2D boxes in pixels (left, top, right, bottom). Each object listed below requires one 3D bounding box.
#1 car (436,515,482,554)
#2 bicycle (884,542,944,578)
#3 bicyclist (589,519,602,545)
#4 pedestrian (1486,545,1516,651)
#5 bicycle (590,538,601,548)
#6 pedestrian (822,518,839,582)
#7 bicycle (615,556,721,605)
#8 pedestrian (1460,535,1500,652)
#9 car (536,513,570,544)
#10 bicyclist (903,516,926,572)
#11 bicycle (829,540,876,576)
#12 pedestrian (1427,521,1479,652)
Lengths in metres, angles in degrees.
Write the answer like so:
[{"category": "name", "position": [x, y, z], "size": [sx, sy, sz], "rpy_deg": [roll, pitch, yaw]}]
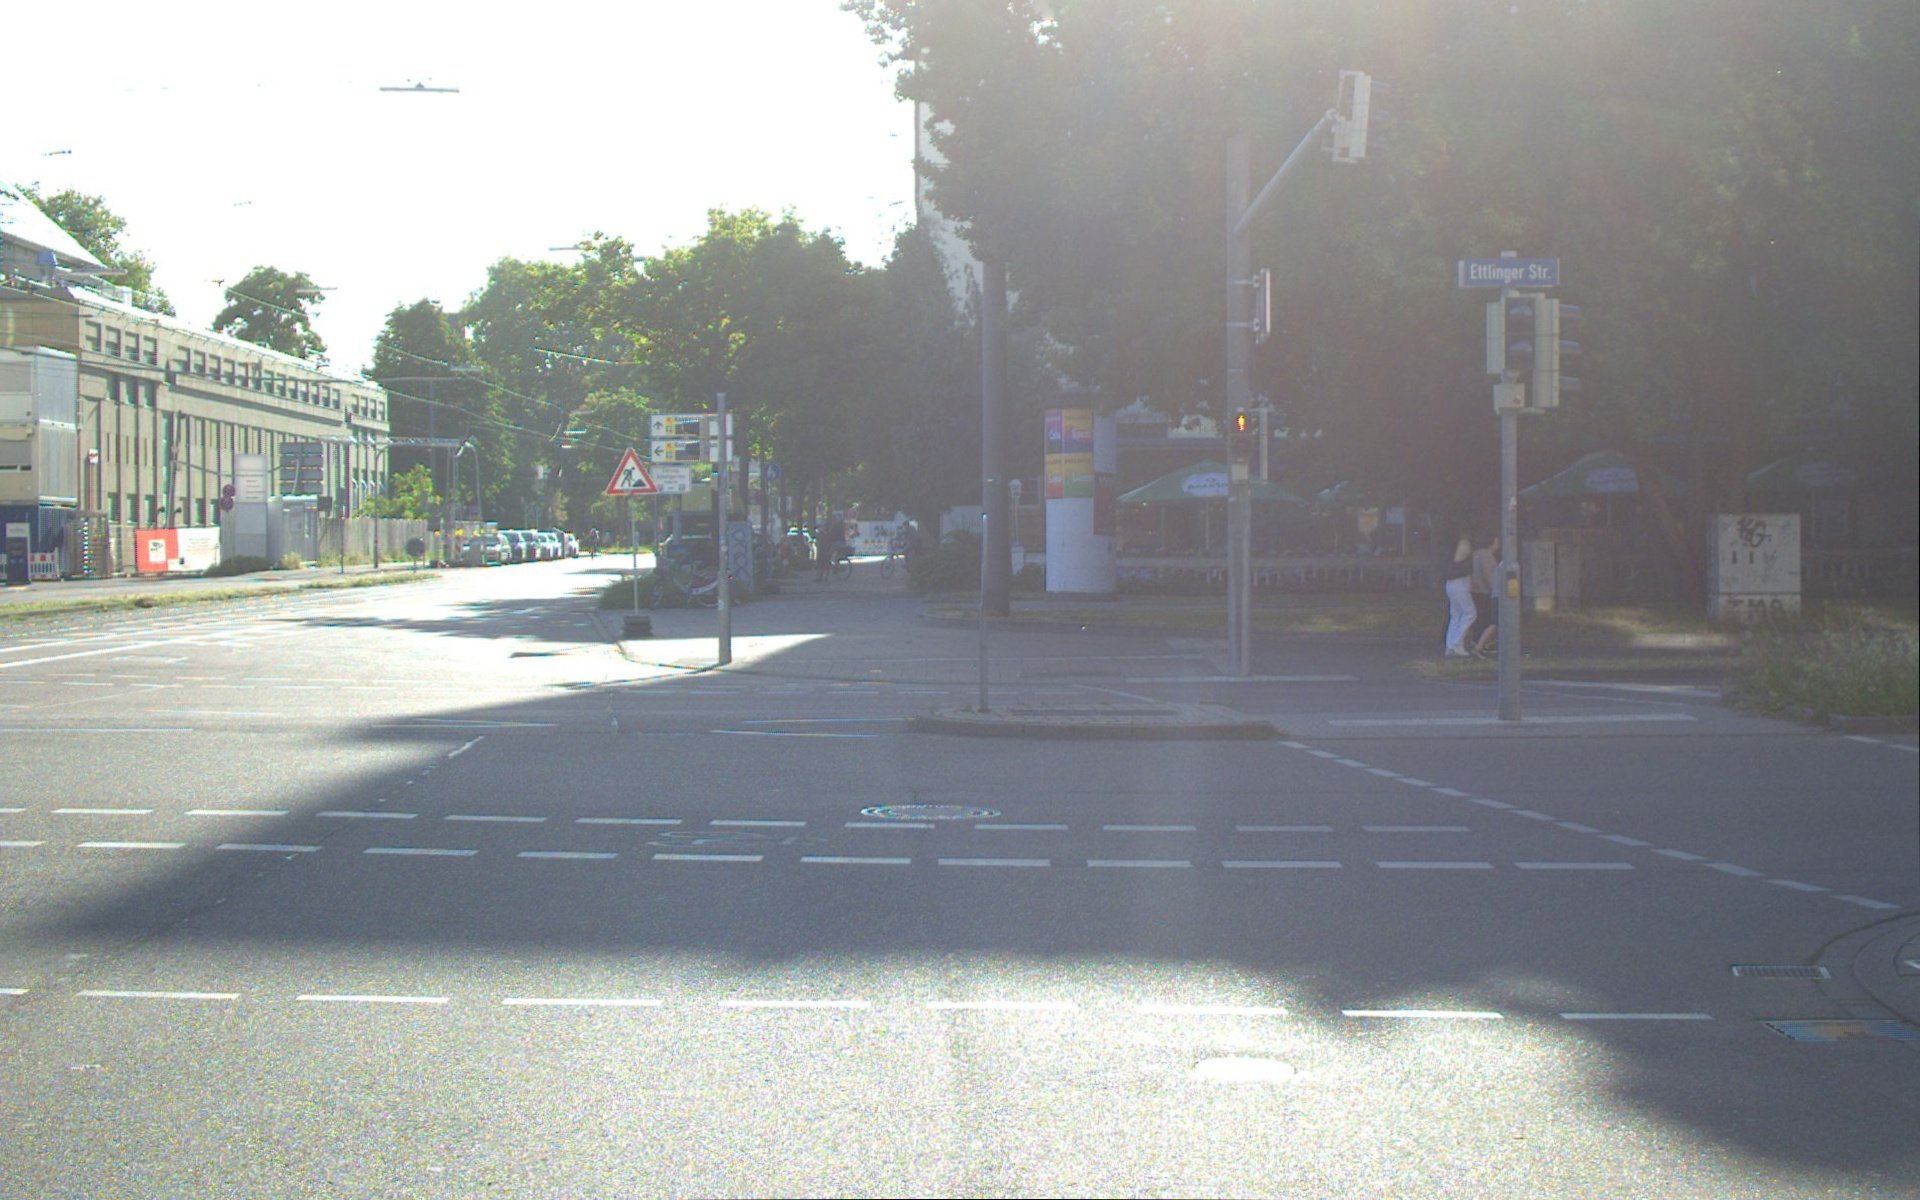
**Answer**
[{"category": "car", "position": [-22.781, -2.981, 156.443], "size": [1.692, 1.712, 4.248], "rpy_deg": [1, 1, -4]}, {"category": "bicycle", "position": [-1.392, -1.202, 104.040], "size": [1.824, 1.073, 0.577], "rpy_deg": [0, 1, 0]}, {"category": "bicyclist", "position": [-18.864, -3.518, 177.957], "size": [0.596, 1.372, 0.638], "rpy_deg": [1, 0, -2]}, {"category": "pedestrian", "position": [6.828, -0.028, 43.377], "size": [0.317, 1.311, 0.345], "rpy_deg": [1, 2, 2]}, {"category": "bicycle", "position": [-18.874, -2.933, 177.989], "size": [0.501, 0.513, 1.258], "rpy_deg": [1, 1, -1]}, {"category": "pedestrian", "position": [-3.714, -1.429, 98.440], "size": [0.463, 1.807, 0.503], "rpy_deg": [0, 1, -5]}, {"category": "bicycle", "position": [-5.732, -0.387, 67.480], "size": [2.018, 0.888, 0.650], "rpy_deg": [-2, 0, 27]}, {"category": "pedestrian", "position": [6.727, -0.091, 44.470], "size": [0.439, 1.498, 0.437], "rpy_deg": [0, 1, 1]}, {"category": "car", "position": [-23.021, -4.050, 194.689], "size": [1.692, 1.712, 4.248], "rpy_deg": [1, 1, -4]}, {"category": "bicyclist", "position": [-1.385, -1.693, 104.027], "size": [0.697, 1.685, 0.571], "rpy_deg": [0, 1, -1]}, {"category": "bicycle", "position": [-3.227, -1.266, 102.906], "size": [0.575, 1.073, 1.831], "rpy_deg": [-1, 1, -32]}, {"category": "pedestrian", "position": [6.324, -0.173, 44.106], "size": [0.583, 1.657, 0.514], "rpy_deg": [1, 2, 2]}]
